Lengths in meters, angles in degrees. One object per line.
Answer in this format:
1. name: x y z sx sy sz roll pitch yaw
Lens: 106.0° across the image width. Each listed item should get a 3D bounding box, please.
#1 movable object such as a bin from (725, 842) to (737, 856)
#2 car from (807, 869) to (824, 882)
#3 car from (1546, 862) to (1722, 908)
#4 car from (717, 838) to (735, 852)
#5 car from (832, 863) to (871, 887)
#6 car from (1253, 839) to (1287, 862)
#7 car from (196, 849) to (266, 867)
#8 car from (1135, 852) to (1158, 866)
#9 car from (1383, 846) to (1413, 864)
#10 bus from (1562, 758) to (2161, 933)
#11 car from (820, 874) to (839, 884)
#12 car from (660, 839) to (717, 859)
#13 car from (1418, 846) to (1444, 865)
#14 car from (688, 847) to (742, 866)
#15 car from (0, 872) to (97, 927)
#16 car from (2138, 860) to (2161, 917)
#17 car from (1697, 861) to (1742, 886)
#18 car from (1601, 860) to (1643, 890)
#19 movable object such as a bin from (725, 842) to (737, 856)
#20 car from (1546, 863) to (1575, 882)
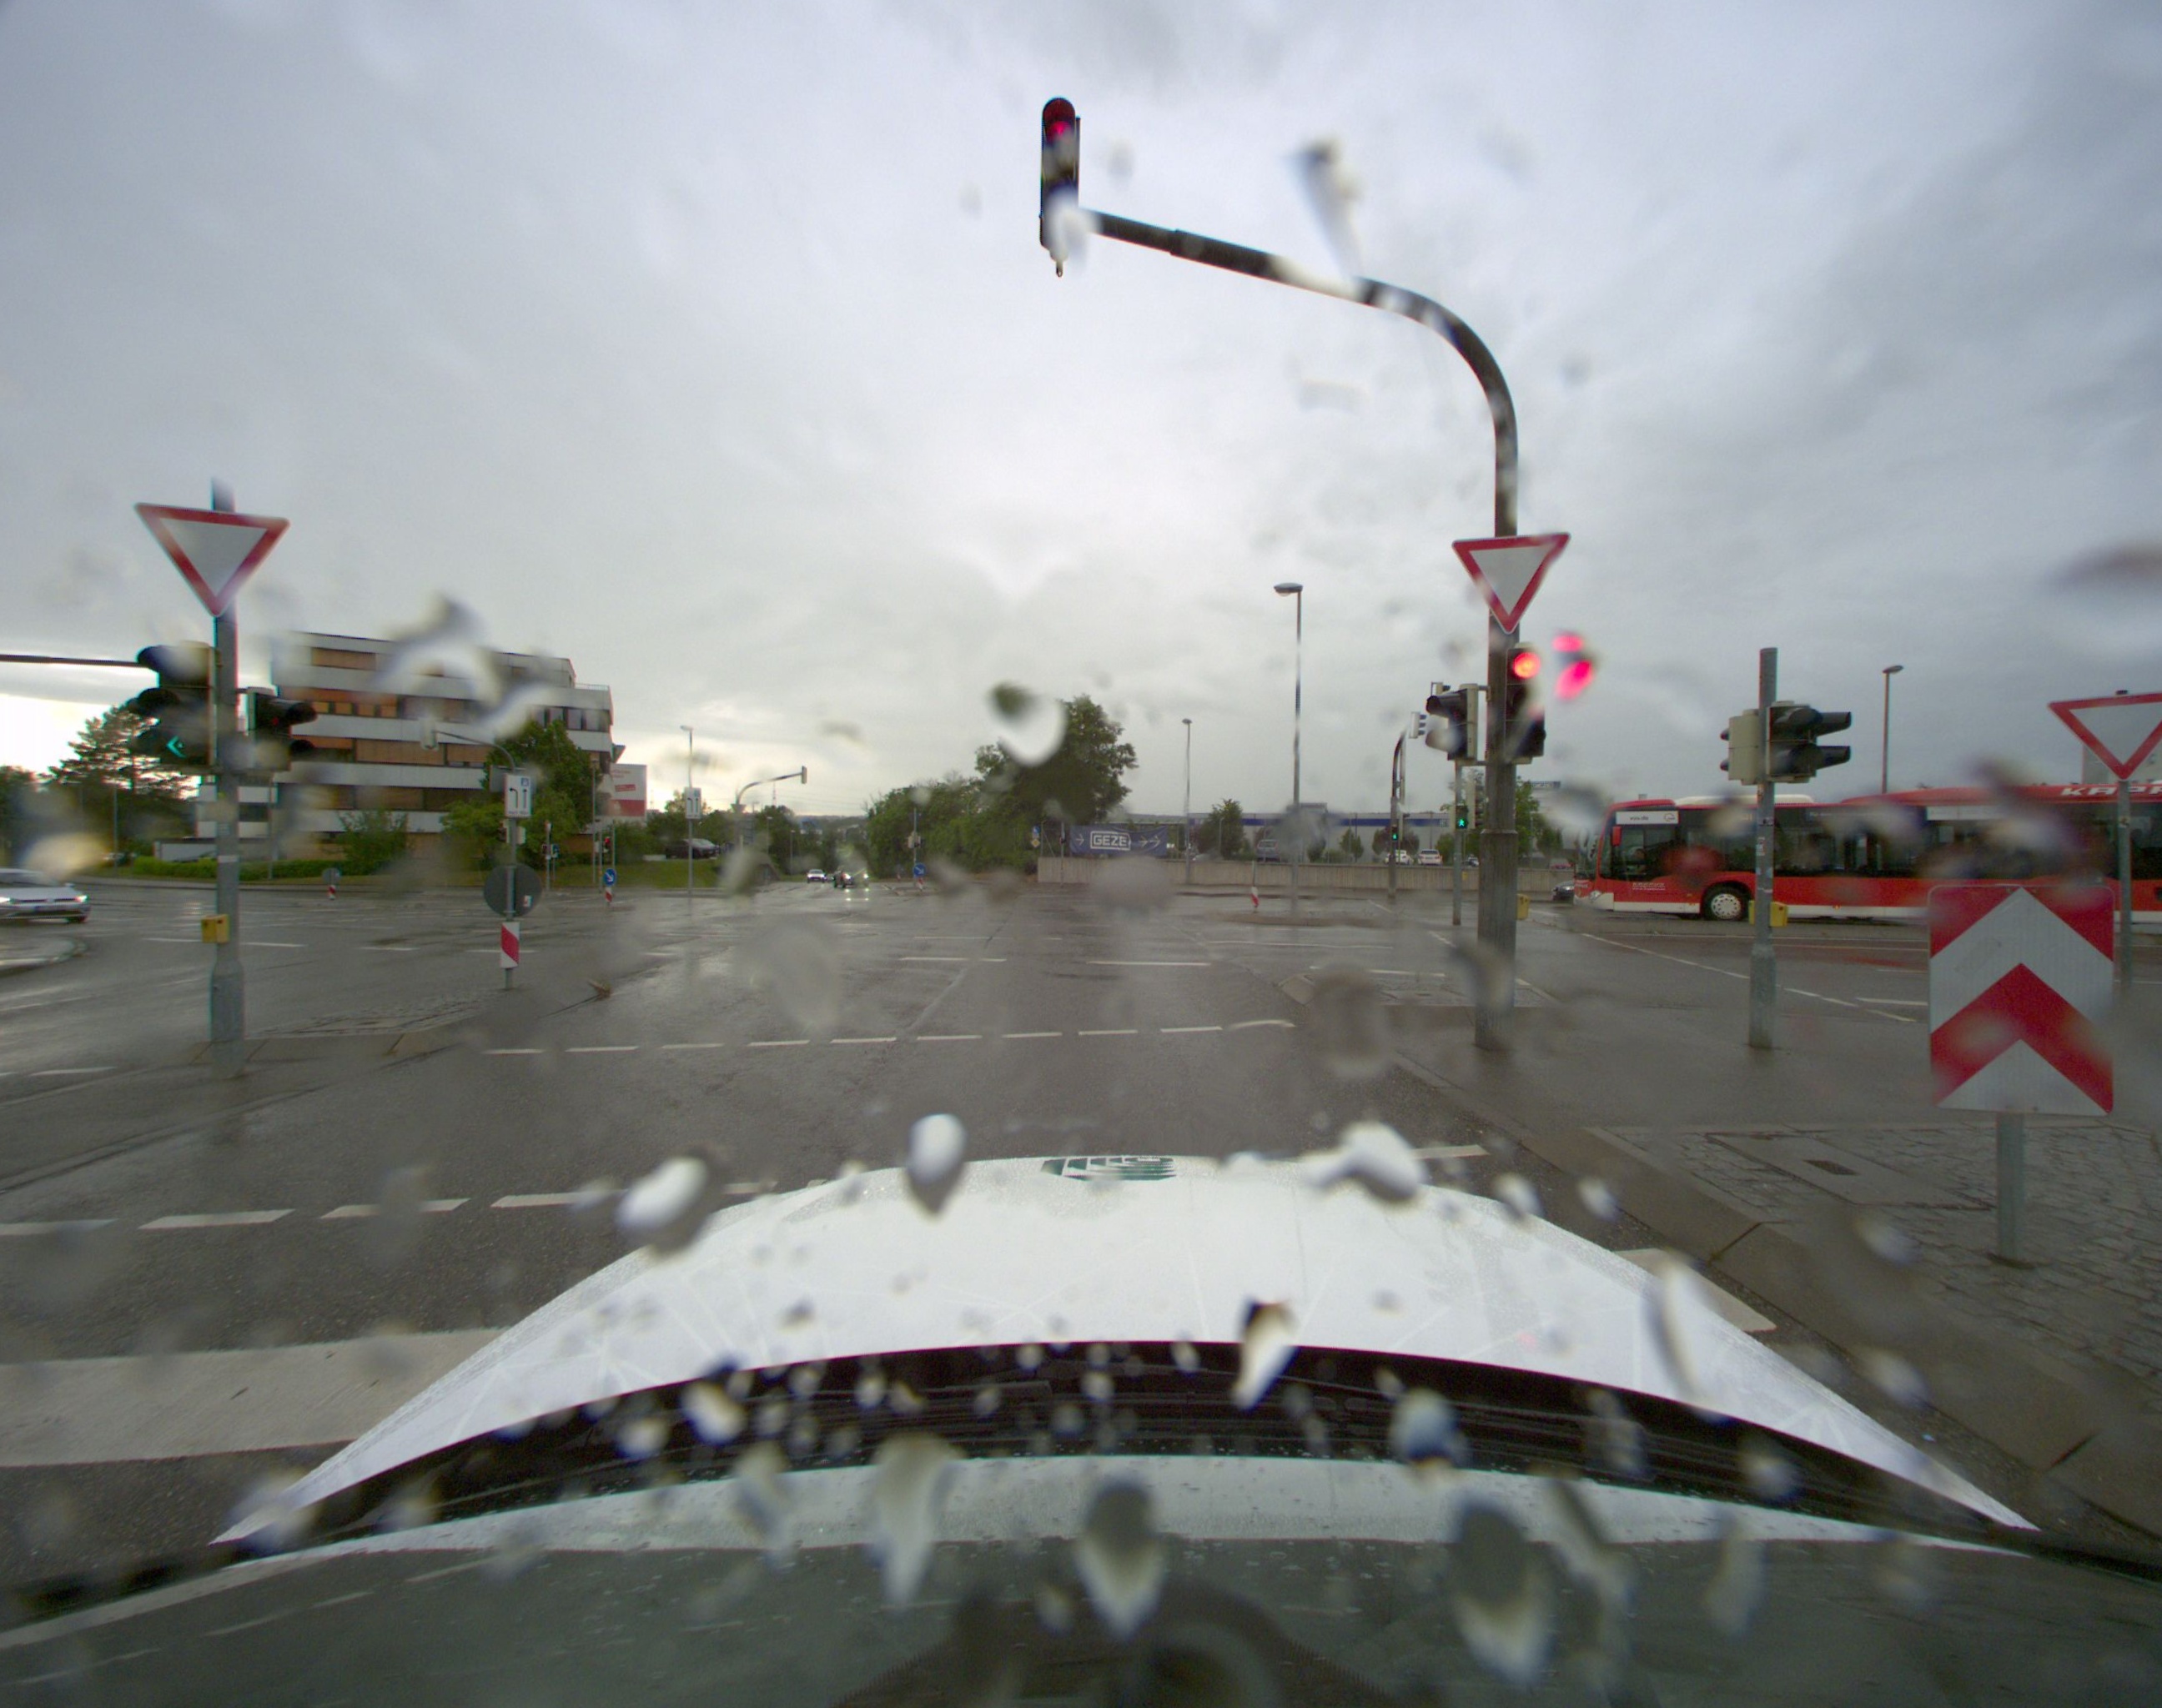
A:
1. movable object such as a bin: -38.370 -0.500 89.226 1.089 1.437 1.434 1 -3 -25
2. car: -29.772 2.392 91.349 1.723 1.494 3.978 0 -1 -16
3. car: 17.589 0.939 26.153 4.344 1.354 1.834 0 0 18
4. car: -42.455 -1.018 97.295 1.836 1.442 3.967 1 -2 -25
5. car: -15.467 1.401 54.743 1.671 1.494 3.962 0 -1 -29
6. car: 13.352 -0.235 57.283 1.727 1.553 3.550 -1 -1 23
7. car: -70.060 0.306 67.205 3.779 1.399 1.977 0 0 -40
8. car: 7.762 0.593 95.900 1.651 1.606 3.550 -1 -1 23
9. car: 26.471 0.120 67.884 1.800 1.434 4.128 -1 -1 28
10. bus: 18.717 -0.271 19.339 12.152 3.576 3.001 2 0 19
11. car: -42.754 4.239 138.443 1.890 1.456 4.003 0 0 3
12. car: -33.429 -0.426 69.344 3.962 1.586 1.907 0 -2 10
13. car: 28.898 0.142 67.195 1.841 1.526 4.127 -1 -1 25
14. car: -32.535 0.258 72.443 3.958 1.586 1.909 0 -2 14
15. car: -28.836 1.173 21.797 4.479 1.363 1.771 -1 -1 20
16. car: 31.694 0.956 21.519 4.344 1.538 1.834 0 0 18
17. car: 52.736 1.585 67.294 1.976 2.014 4.022 -1 -1 24
18. car: 38.085 1.461 57.400 1.727 2.014 3.844 -1 -1 23
19. movable object such as a bin: -37.773 -0.514 87.855 1.089 1.437 1.434 1 -3 -25
20. car: 42.602 1.648 72.444 1.905 1.589 3.811 0 0 25
